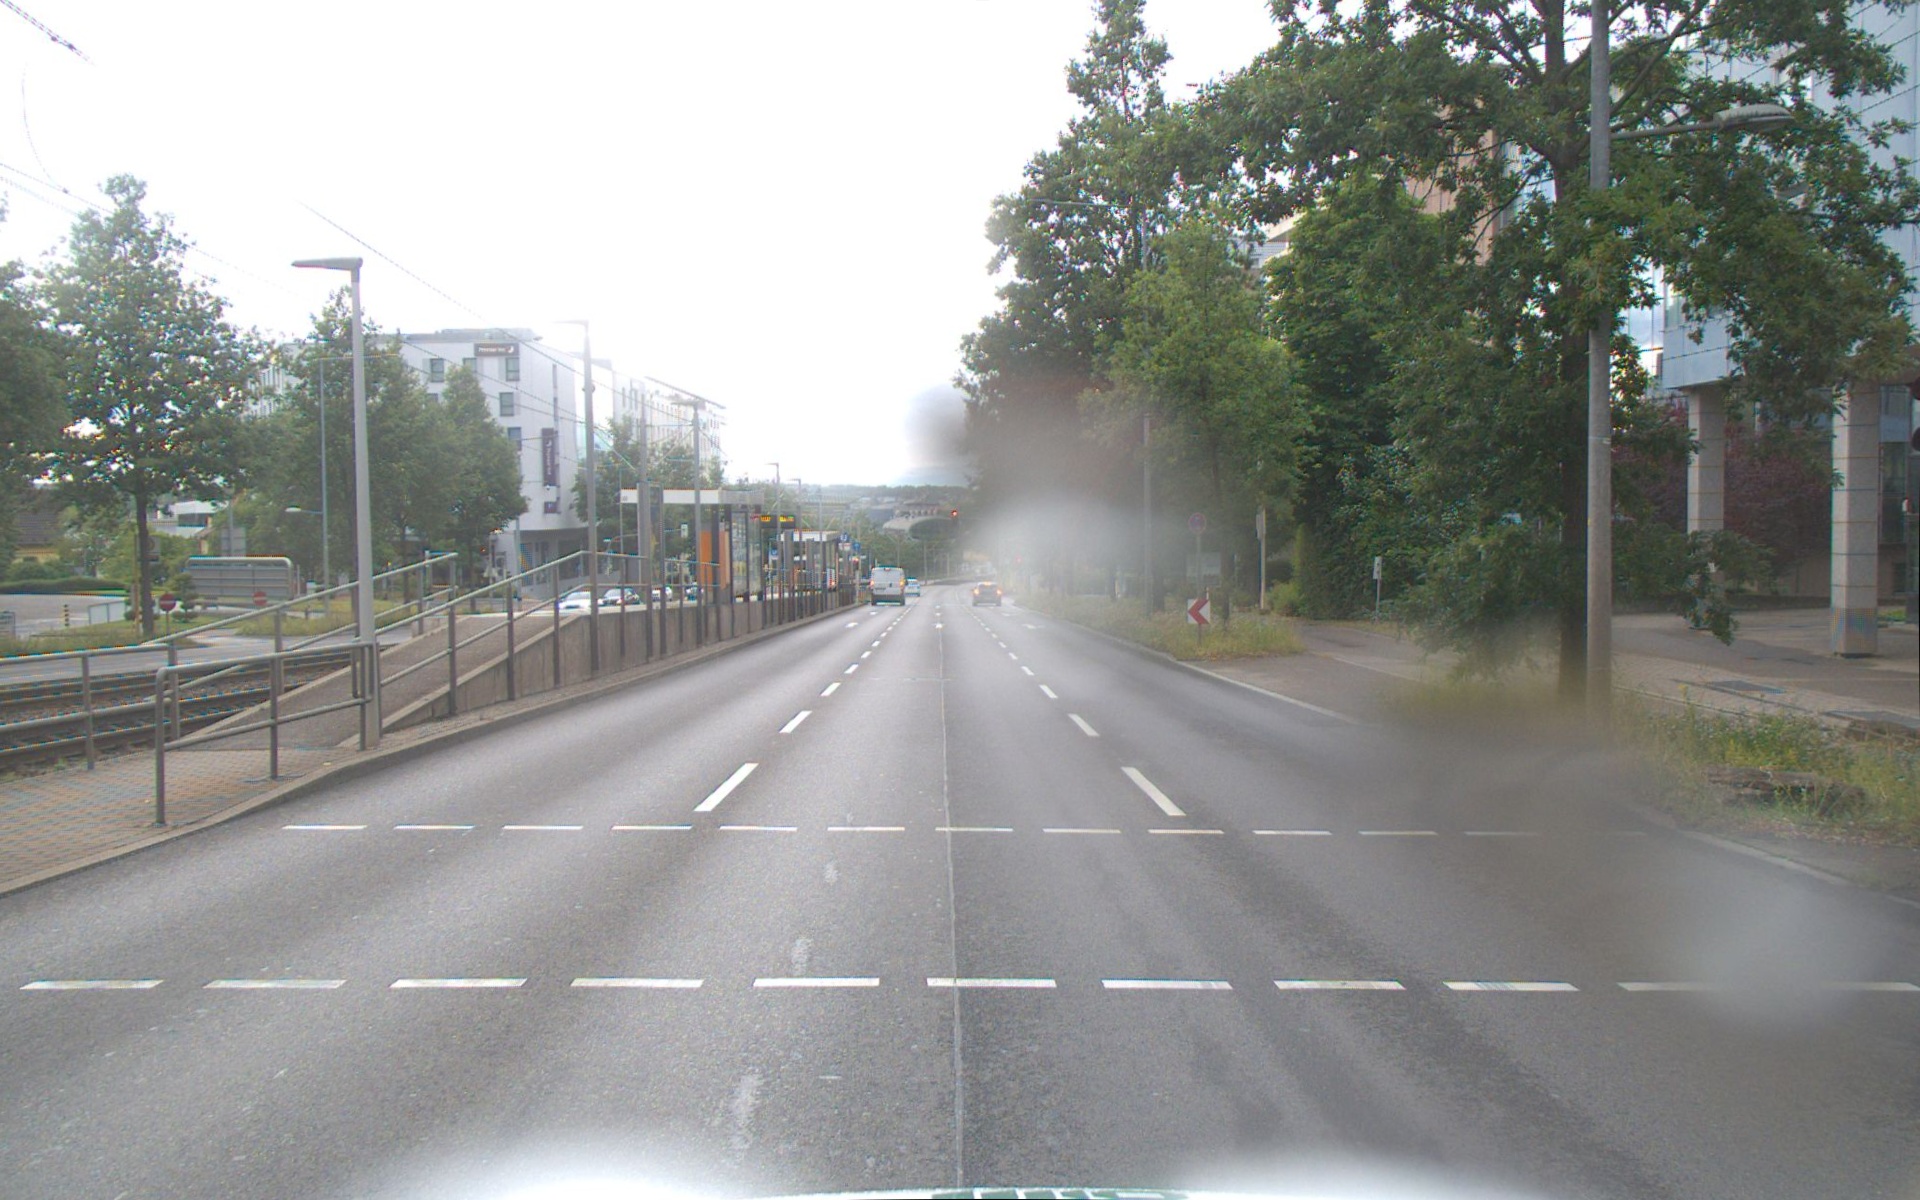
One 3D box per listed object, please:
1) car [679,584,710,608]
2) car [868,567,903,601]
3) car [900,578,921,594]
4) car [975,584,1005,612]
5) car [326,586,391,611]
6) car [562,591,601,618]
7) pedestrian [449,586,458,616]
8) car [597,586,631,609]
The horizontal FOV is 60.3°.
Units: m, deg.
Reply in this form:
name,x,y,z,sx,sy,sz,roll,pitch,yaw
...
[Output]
name,x,y,z,sx,sy,sz,roll,pitch,yaw
car,-16.917,-0.260,105.245,1.622,1.461,3.866,-2,1,-14
car,-4.577,-0.985,102.392,2.050,2.089,4.605,0,1,-1
car,-4.358,-1.235,145.581,1.747,1.414,3.998,0,1,-3
car,1.820,-0.157,102.817,1.738,1.720,3.845,0,1,-1
car,-34.702,-0.102,95.428,3.297,1.411,1.434,0,1,16
car,-21.872,0.231,95.676,1.618,1.461,3.876,-2,1,-5
pedestrian,-33.583,0.072,109.590,0.465,1.954,0.490,0,0,-1
car,-22.000,-0.153,105.320,1.536,1.402,3.517,0,1,-3
